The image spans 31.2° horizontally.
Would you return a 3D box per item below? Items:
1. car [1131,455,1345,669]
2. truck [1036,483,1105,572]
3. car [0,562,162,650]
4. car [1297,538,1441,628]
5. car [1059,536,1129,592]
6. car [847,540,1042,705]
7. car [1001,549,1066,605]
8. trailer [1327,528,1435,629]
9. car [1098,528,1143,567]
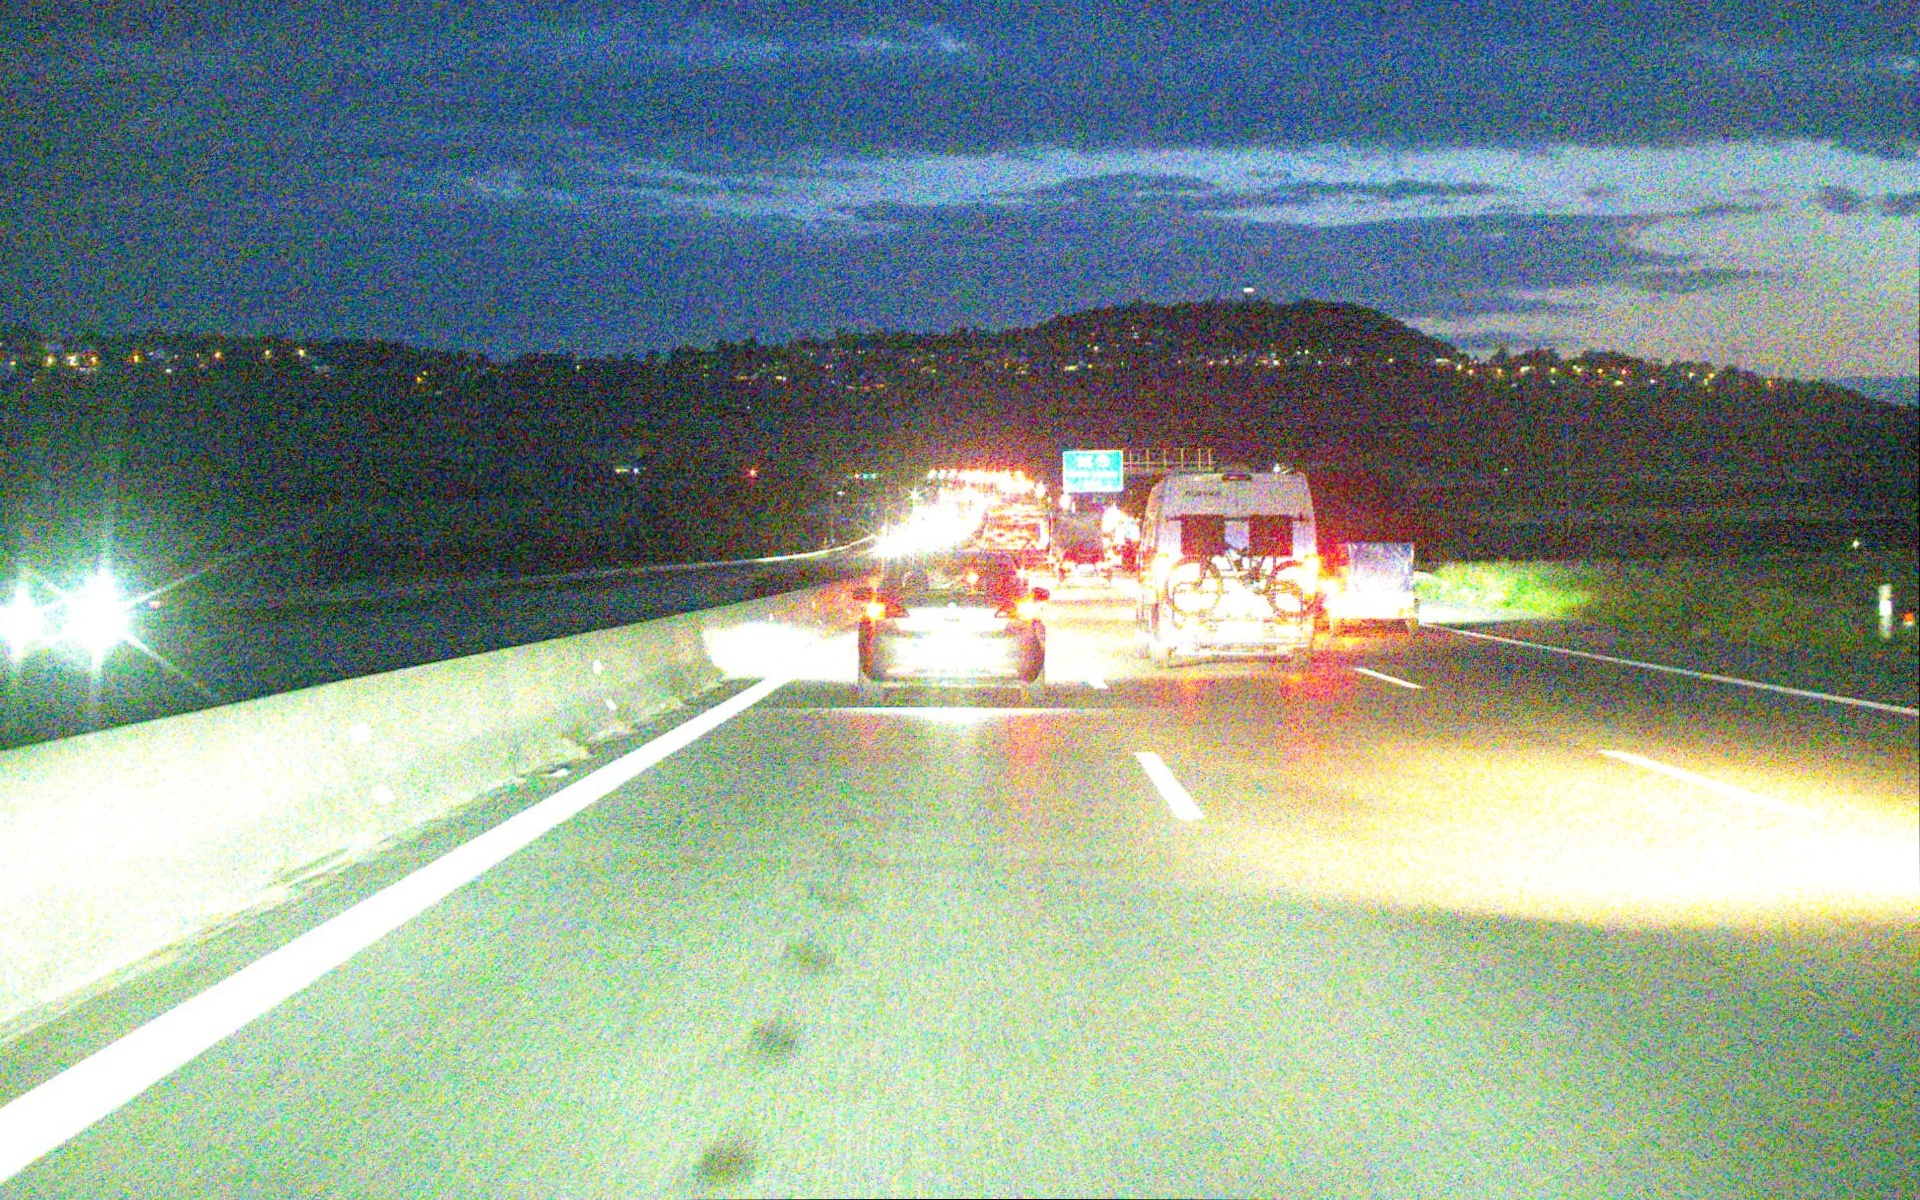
[{"bbox_3d":[3.461,-0.530,43.919,2.351,2.526,5.701,-1,2,1],"label":"car"},{"bbox_3d":[5.014,-3.315,157.809,2.781,3.942,7.994,-1,1,-1],"label":"truck"},{"bbox_3d":[-15.945,0.083,61.896,1.993,1.414,4.983,-3,1,-1],"label":"car"},{"bbox_3d":[7.452,-0.338,63.029,2.163,1.558,4.723,0,1,1],"label":"car"},{"bbox_3d":[4.686,-1.284,121.161,2.351,1.907,4.723,-1,1,1],"label":"car"},{"bbox_3d":[-0.107,0.172,33.522,1.794,1.464,3.773,0,2,1],"label":"car"},{"bbox_3d":[2.053,-0.656,95.981,1.745,1.435,4.367,-1,2,1],"label":"car"},{"bbox_3d":[7.256,-0.386,59.394,1.566,1.687,2.821,0,1,1],"label":"trailer"},{"bbox_3d":[9.002,-2.968,193.426,2.351,2.068,4.723,-1,2,1],"label":"car"}]
